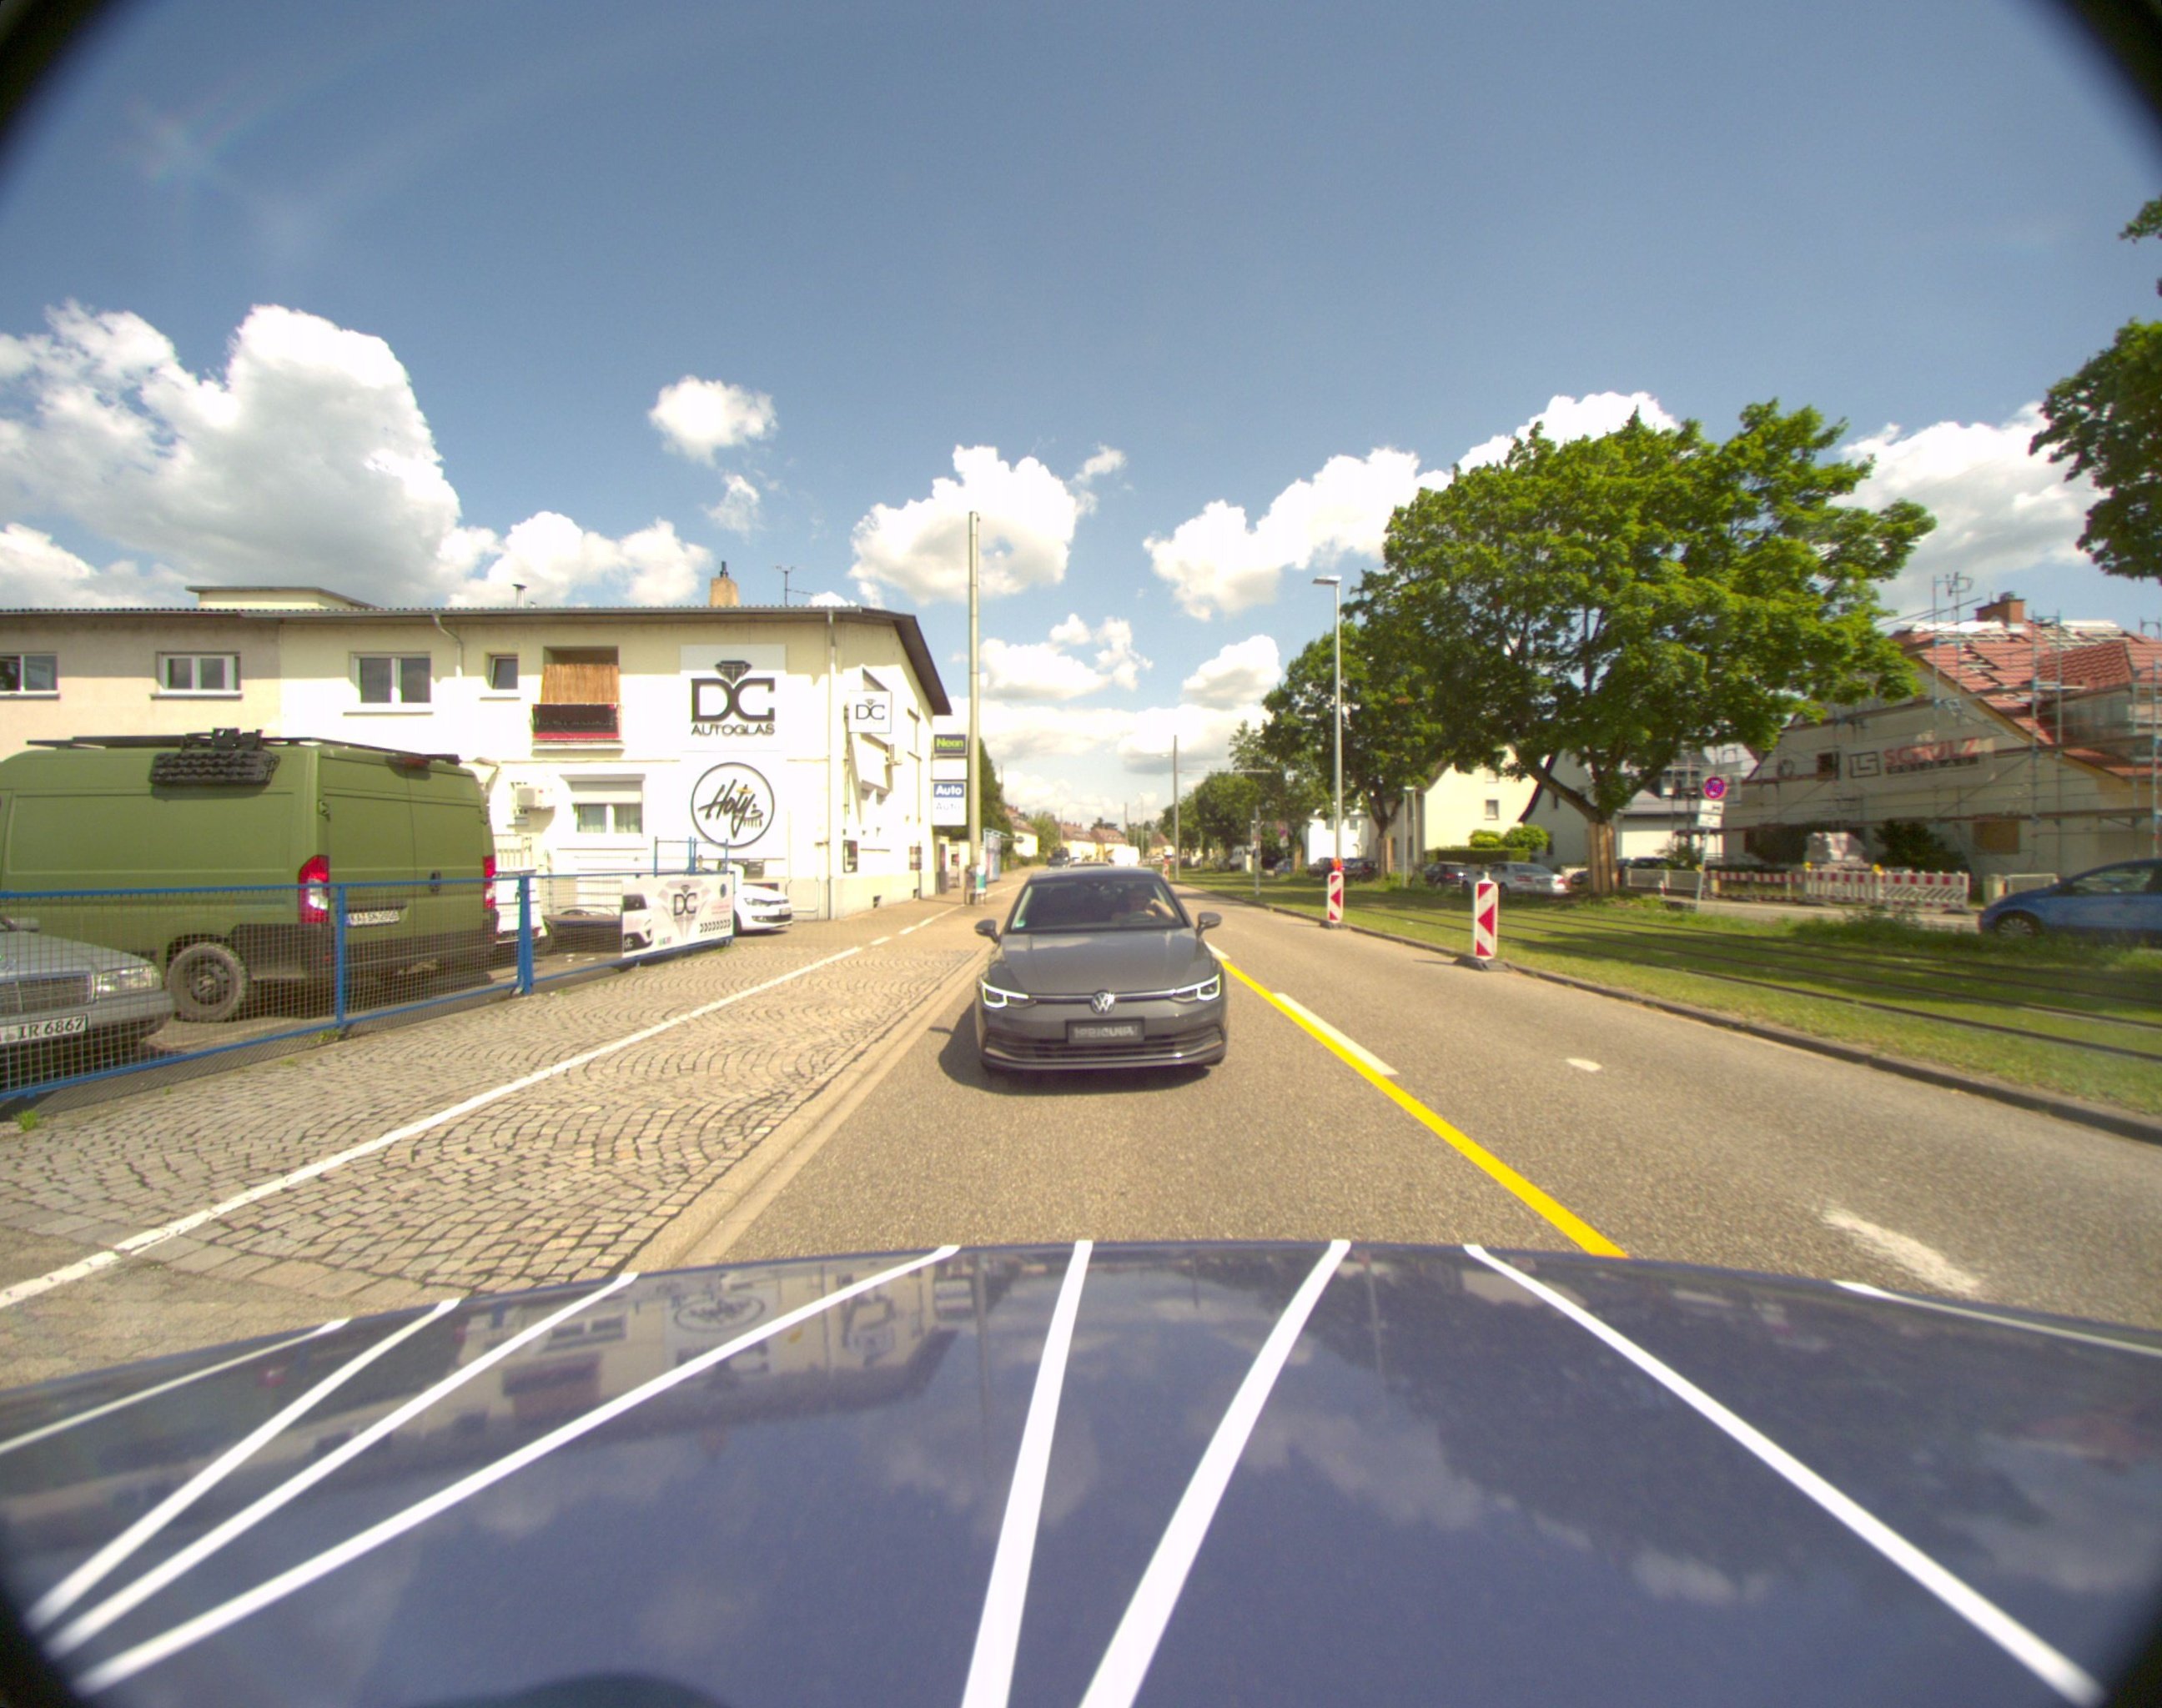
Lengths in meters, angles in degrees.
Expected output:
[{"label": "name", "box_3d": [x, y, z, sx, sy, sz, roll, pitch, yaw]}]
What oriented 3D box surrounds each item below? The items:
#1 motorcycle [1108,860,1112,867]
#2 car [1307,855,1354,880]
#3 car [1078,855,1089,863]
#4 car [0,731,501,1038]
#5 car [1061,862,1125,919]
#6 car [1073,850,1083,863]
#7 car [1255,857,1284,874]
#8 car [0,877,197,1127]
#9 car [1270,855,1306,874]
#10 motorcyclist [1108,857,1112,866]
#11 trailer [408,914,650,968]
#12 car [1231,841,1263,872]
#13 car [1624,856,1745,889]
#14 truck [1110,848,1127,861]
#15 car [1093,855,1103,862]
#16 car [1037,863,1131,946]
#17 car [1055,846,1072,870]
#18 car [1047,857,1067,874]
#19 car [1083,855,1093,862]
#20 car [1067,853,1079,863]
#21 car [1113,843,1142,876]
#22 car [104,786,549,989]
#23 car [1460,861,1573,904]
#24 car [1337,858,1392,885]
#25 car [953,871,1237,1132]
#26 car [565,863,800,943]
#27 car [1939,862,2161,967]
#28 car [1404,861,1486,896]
[{"label": "motorcycle", "box_3d": [4.338, 1.396, 113.433, 0.658, 1.040, 2.111, 0, 0, 1]}, {"label": "car", "box_3d": [16.559, 0.896, 50.664, 1.702, 1.562, 4.407, -1, -1, 1]}, {"label": "car", "box_3d": [0.497, 0.899, 146.711, 1.701, 1.574, 4.002, 0, 0, 6]}, {"label": "car", "box_3d": [-8.724, 0.271, 7.614, 4.207, 2.627, 2.113, 0, 0, 2]}, {"label": "car", "box_3d": [0.348, 0.989, 22.294, 1.702, 1.477, 4.000, 0, 0, 1]}, {"label": "car", "box_3d": [-0.477, 0.417, 136.407, 1.701, 2.233, 4.947, 0, 0, 2]}, {"label": "car", "box_3d": [17.652, 1.074, 71.329, 1.702, 1.477, 4.407, -1, -1, 1]}, {"label": "car", "box_3d": [-8.457, 0.888, 4.778, 4.282, 1.444, 1.713, 0, 0, 8]}, {"label": "car", "box_3d": [16.649, 0.872, 61.284, 1.702, 1.477, 4.407, -1, -1, 1]}, {"label": "motorcyclist", "box_3d": [4.334, 1.113, 113.355, 0.659, 1.284, 0.780, 0, 0, 0]}, {"label": "trailer", "box_3d": [-8.365, 1.306, 11.664, 2.733, 0.662, 1.329, 0, 0, -1]}, {"label": "car", "box_3d": [16.824, 0.270, 77.274, 2.136, 3.019, 5.084, -1, -1, 1]}, {"label": "car", "box_3d": [28.910, 0.887, 36.513, 4.402, 1.477, 1.704, -1, -1, 1]}, {"label": "truck", "box_3d": [9.928, 0.138, 201.054, 2.710, 3.119, 8.124, 0, 0, 15]}, {"label": "car", "box_3d": [3.861, 0.907, 173.601, 1.700, 1.574, 4.004, 0, 0, 12]}, {"label": "car", "box_3d": [0.082, 0.939, 15.841, 1.702, 1.477, 4.000, 0, 0, 1]}, {"label": "car", "box_3d": [-1.906, 0.447, 82.443, 1.702, 2.510, 5.144, 0, 0, 0]}, {"label": "car", "box_3d": [-2.179, 1.045, 70.758, 1.702, 1.574, 4.000, 0, 0, 1]}, {"label": "car", "box_3d": [1.456, 0.902, 155.841, 1.701, 1.574, 4.002, 0, 0, 7]}, {"label": "car", "box_3d": [-1.304, 0.669, 123.044, 1.701, 1.574, 4.001, 0, 0, 3]}, {"label": "car", "box_3d": [3.730, 0.432, 61.357, 2.090, 2.449, 5.842, 2, 0, 2]}, {"label": "car", "box_3d": [-9.497, 0.402, 9.782, 4.207, 2.392, 1.586, 0, 0, 2]}, {"label": "car", "box_3d": [16.444, 1.065, 28.996, 1.788, 1.477, 4.523, -1, -1, 2]}, {"label": "car", "box_3d": [16.775, 1.033, 45.158, 1.702, 1.477, 4.407, -1, -1, 1]}, {"label": "car", "box_3d": [0.113, 0.935, 6.559, 1.702, 1.477, 4.000, 0, 0, 1]}, {"label": "car", "box_3d": [-7.659, 0.915, 14.822, 3.775, 1.454, 1.555, 0, 0, 2]}, {"label": "car", "box_3d": [16.215, 0.864, 11.402, 1.702, 1.477, 4.407, -1, -1, 1]}, {"label": "car", "box_3d": [16.629, 1.118, 34.940, 1.702, 1.477, 4.407, -1, -1, 1]}]
